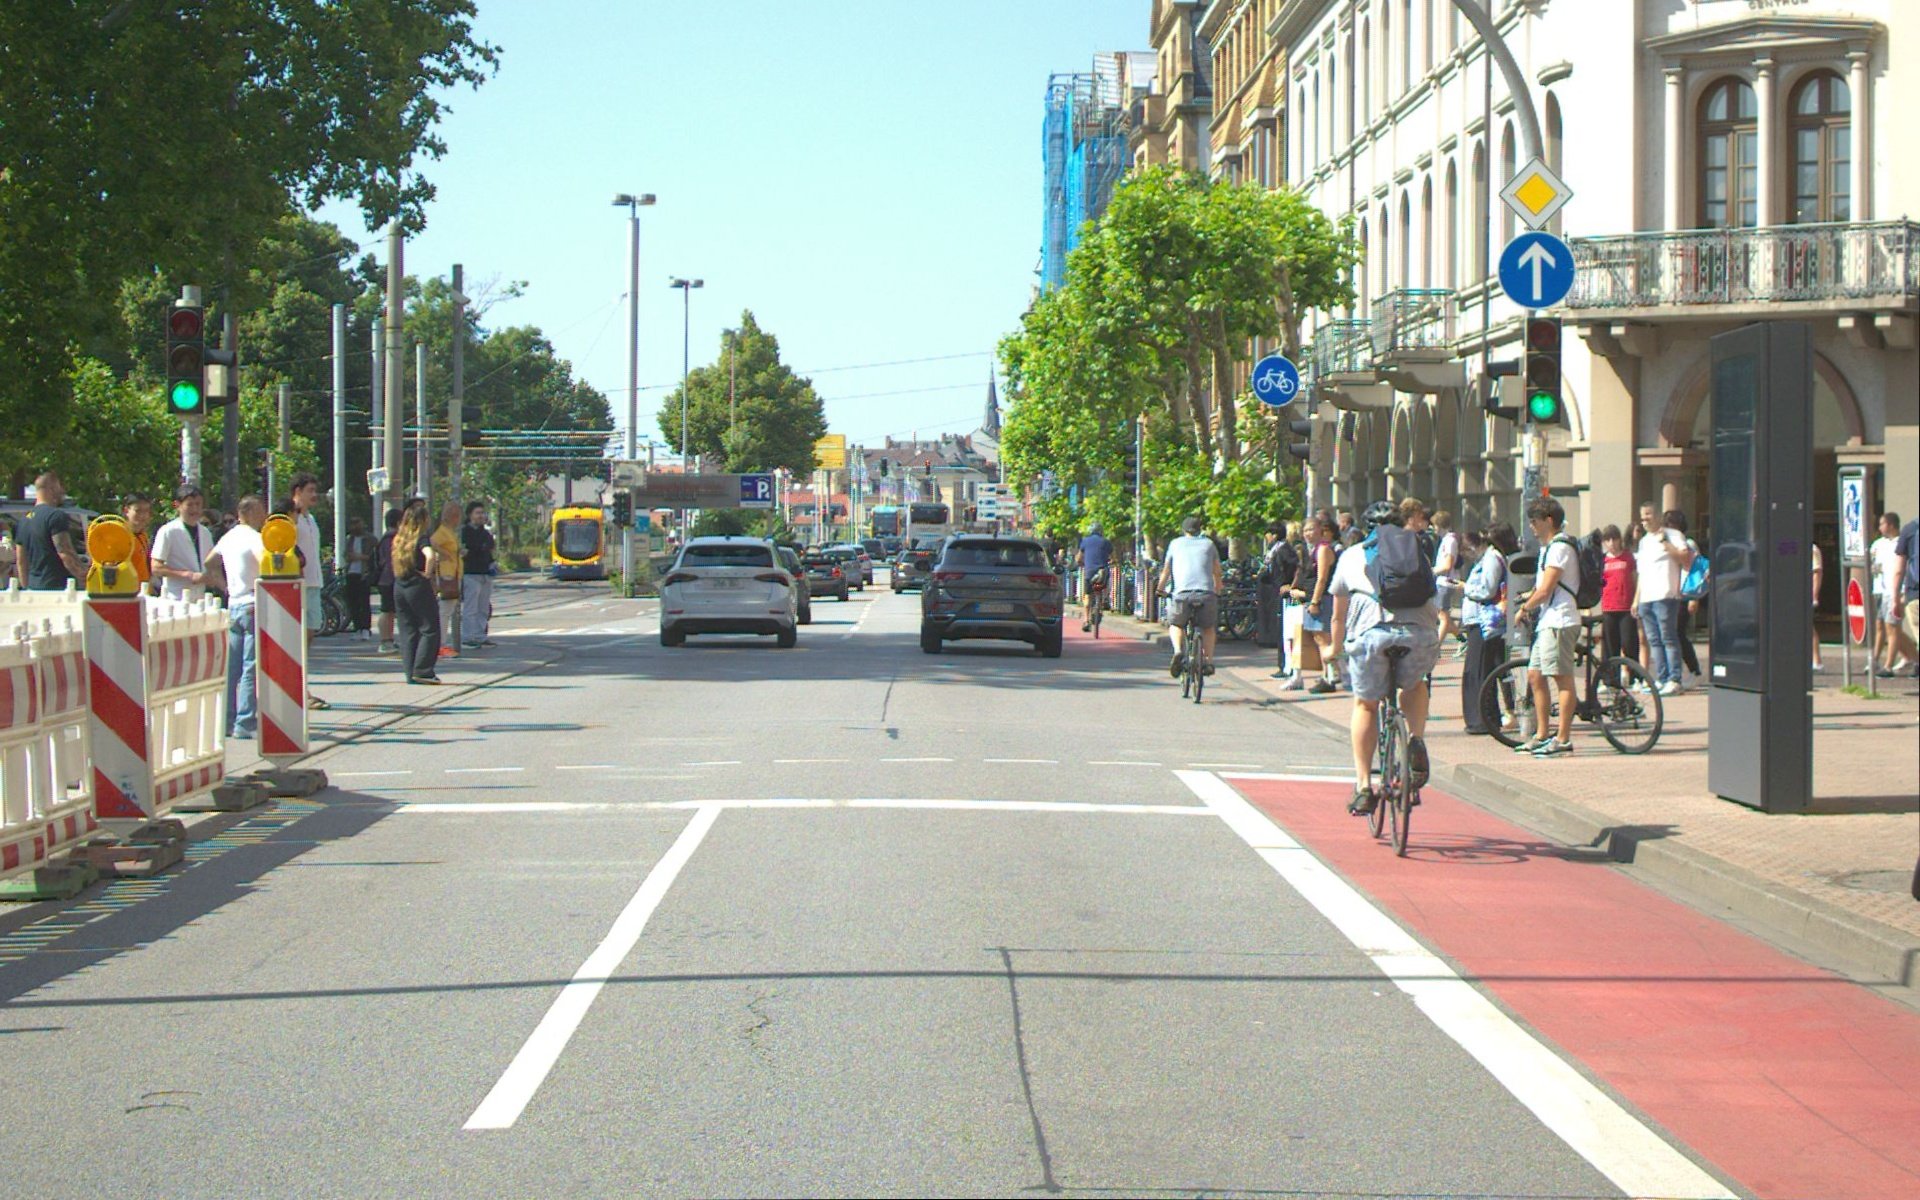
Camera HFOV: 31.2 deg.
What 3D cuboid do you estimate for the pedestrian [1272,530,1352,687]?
[{"bbox_3d":[3.523,0.080,34.407,0.610,1.510,0.678,-4,1,-2],"label":"pedestrian"}]

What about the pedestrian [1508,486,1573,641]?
[{"bbox_3d":[6.880,-0.434,40.741,0.610,1.817,0.678,1,1,-2],"label":"pedestrian"}]

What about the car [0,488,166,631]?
[{"bbox_3d":[-13.359,-0.575,48.528,1.861,1.948,4.756,1,1,20],"label":"car"}]

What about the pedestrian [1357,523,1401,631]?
[{"bbox_3d":[6.971,-0.384,57.208,0.628,1.785,0.612,1,1,-1],"label":"pedestrian"}]

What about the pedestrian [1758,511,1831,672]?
[{"bbox_3d":[9.414,-0.100,38.810,0.610,1.800,0.678,1,1,-2],"label":"pedestrian"}]

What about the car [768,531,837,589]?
[{"bbox_3d":[-4.411,-1.141,96.911,1.845,1.554,4.000,1,1,-1],"label":"car"}]

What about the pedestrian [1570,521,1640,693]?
[{"bbox_3d":[6.113,0.061,32.604,0.522,1.606,0.641,-1,0,0],"label":"pedestrian"}]

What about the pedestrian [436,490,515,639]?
[{"bbox_3d":[-5.987,-0.443,42.508,0.633,1.828,0.730,1,1,29],"label":"pedestrian"}]

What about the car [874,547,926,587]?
[{"bbox_3d":[-2.212,-1.226,126.348,1.845,1.409,4.000,1,1,-1],"label":"car"}]

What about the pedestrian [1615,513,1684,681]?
[{"bbox_3d":[6.672,-0.029,33.277,0.522,1.603,0.641,-1,0,0],"label":"pedestrian"}]

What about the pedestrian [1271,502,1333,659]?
[{"bbox_3d":[4.009,-0.228,40.313,0.610,1.817,0.678,1,1,-2],"label":"pedestrian"}]

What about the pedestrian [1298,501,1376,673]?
[{"bbox_3d":[3.956,-0.140,36.148,0.610,1.753,0.678,-4,1,-2],"label":"pedestrian"}]

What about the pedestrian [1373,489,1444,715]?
[{"bbox_3d":[3.814,0.015,29.245,0.523,1.891,0.641,-1,0,2],"label":"pedestrian"}]

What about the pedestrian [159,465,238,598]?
[{"bbox_3d":[-10.104,-0.907,45.623,0.679,1.758,0.765,1,1,29],"label":"pedestrian"}]

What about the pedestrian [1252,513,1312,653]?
[{"bbox_3d":[3.967,-0.212,42.403,0.582,1.694,0.605,-3,1,-2],"label":"pedestrian"}]

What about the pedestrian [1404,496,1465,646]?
[{"bbox_3d":[5.771,-0.350,41.823,0.610,1.800,0.678,1,1,-2],"label":"pedestrian"}]

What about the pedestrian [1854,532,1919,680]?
[{"bbox_3d":[10.371,0.065,38.388,0.540,1.627,0.678,1,0,-2],"label":"pedestrian"}]

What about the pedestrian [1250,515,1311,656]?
[{"bbox_3d":[3.885,-0.179,41.730,0.582,1.668,0.605,-3,1,-2],"label":"pedestrian"}]

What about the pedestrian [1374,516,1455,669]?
[{"bbox_3d":[5.620,-0.096,42.556,0.610,1.800,0.678,-9,1,-2],"label":"pedestrian"}]

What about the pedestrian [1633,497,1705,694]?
[{"bbox_3d":[6.632,-0.048,32.166,0.522,1.817,0.641,-1,0,0],"label":"pedestrian"}]

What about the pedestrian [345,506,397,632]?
[{"bbox_3d":[-8.120,-0.423,47.445,0.610,1.719,0.678,1,1,-2],"label":"pedestrian"}]

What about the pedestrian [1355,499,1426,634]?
[{"bbox_3d":[5.468,-0.427,43.689,0.610,1.699,0.678,-1,1,-29],"label":"pedestrian"}]

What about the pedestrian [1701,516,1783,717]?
[{"bbox_3d":[6.444,0.129,28.338,0.549,1.634,0.589,-1,0,2],"label":"pedestrian"}]

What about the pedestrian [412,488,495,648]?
[{"bbox_3d":[-5.732,-0.366,38.924,0.633,1.788,0.730,1,1,20],"label":"pedestrian"}]

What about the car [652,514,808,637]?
[{"bbox_3d":[-3.035,-0.361,46.053,1.845,1.554,4.000,0,2,0],"label":"car"}]

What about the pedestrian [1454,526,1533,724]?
[{"bbox_3d":[4.138,0.187,26.688,0.523,1.516,0.641,-1,0,2],"label":"pedestrian"}]

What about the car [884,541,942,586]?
[{"bbox_3d":[-1.572,-1.224,113.714,1.845,1.409,4.000,1,1,-1],"label":"car"}]

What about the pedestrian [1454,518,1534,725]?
[{"bbox_3d":[4.252,0.166,27.398,0.549,1.625,0.589,-1,0,2],"label":"pedestrian"}]

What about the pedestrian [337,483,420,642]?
[{"bbox_3d":[-6.876,-0.444,40.634,0.633,1.852,0.730,1,1,29],"label":"pedestrian"}]

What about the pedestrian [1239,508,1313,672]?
[{"bbox_3d":[3.452,-0.112,37.542,0.610,1.733,0.678,-4,1,-2],"label":"pedestrian"}]

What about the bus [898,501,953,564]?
[{"bbox_3d":[-2.063,-3.914,201.724,2.994,3.581,11.746,1,1,-1],"label":"bus"}]

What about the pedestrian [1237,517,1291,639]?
[{"bbox_3d":[4.083,-0.300,46.158,0.531,1.589,0.611,1,4,26],"label":"pedestrian"}]

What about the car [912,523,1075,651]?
[{"bbox_3d":[0.391,-0.209,44.825,1.845,1.554,4.001,-1,2,-3],"label":"car"}]
